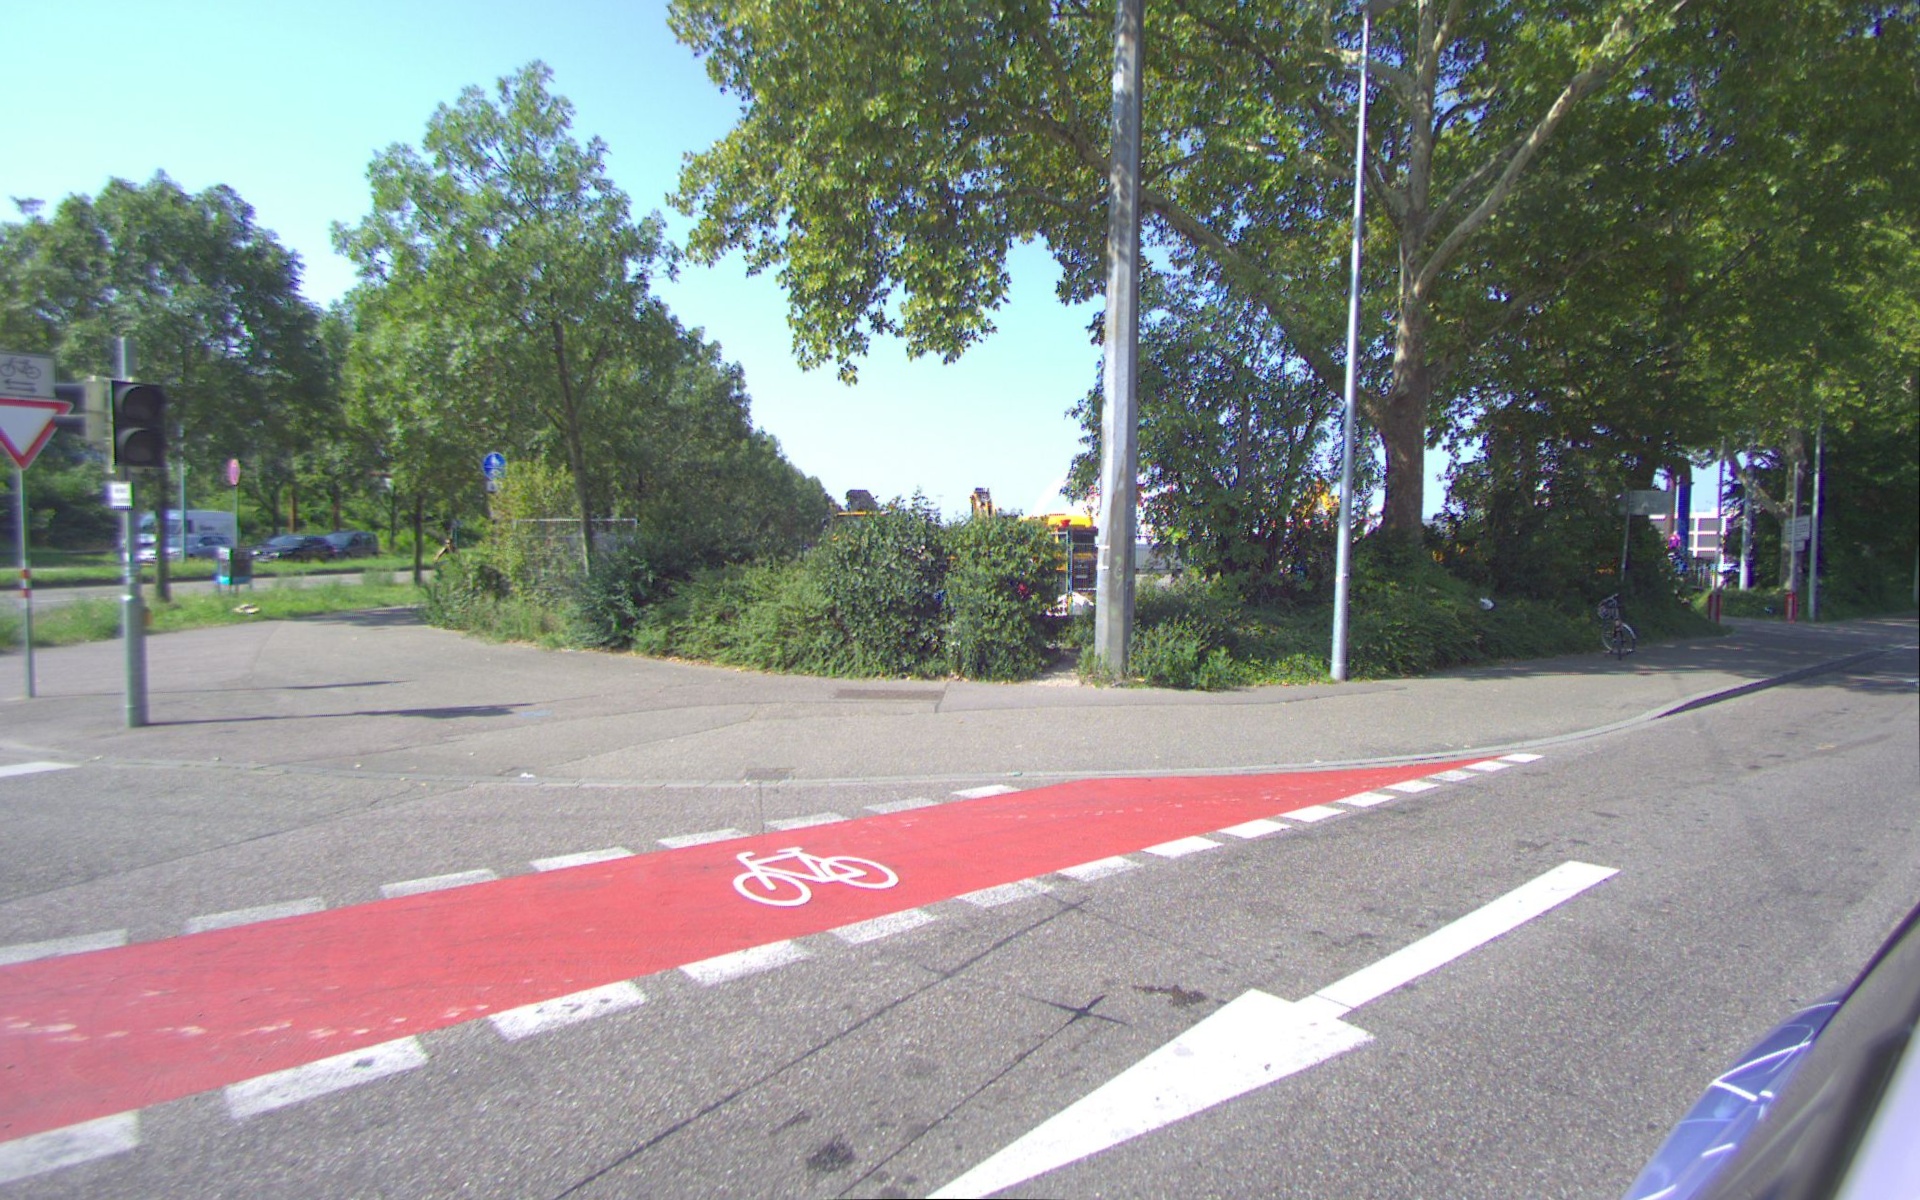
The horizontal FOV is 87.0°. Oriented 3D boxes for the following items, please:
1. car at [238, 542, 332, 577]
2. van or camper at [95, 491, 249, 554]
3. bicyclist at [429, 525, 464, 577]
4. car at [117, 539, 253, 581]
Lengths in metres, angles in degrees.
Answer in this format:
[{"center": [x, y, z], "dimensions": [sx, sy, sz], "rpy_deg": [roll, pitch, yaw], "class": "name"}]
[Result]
[{"center": [-29.006, -1.703, 43.620], "dimensions": [1.625, 1.415, 3.757], "rpy_deg": [-1, 1, -1], "class": "car"}, {"center": [-36.120, -3.469, 46.727], "dimensions": [2.204, 2.514, 6.873], "rpy_deg": [-1, 1, -5], "class": "van or camper"}, {"center": [-13.953, -1.329, 27.495], "dimensions": [0.496, 1.381, 0.693], "rpy_deg": [0, 0, 17], "class": "bicyclist"}, {"center": [-32.520, -1.637, 42.672], "dimensions": [2.124, 1.629, 4.978], "rpy_deg": [-1, 1, -3], "class": "car"}]
